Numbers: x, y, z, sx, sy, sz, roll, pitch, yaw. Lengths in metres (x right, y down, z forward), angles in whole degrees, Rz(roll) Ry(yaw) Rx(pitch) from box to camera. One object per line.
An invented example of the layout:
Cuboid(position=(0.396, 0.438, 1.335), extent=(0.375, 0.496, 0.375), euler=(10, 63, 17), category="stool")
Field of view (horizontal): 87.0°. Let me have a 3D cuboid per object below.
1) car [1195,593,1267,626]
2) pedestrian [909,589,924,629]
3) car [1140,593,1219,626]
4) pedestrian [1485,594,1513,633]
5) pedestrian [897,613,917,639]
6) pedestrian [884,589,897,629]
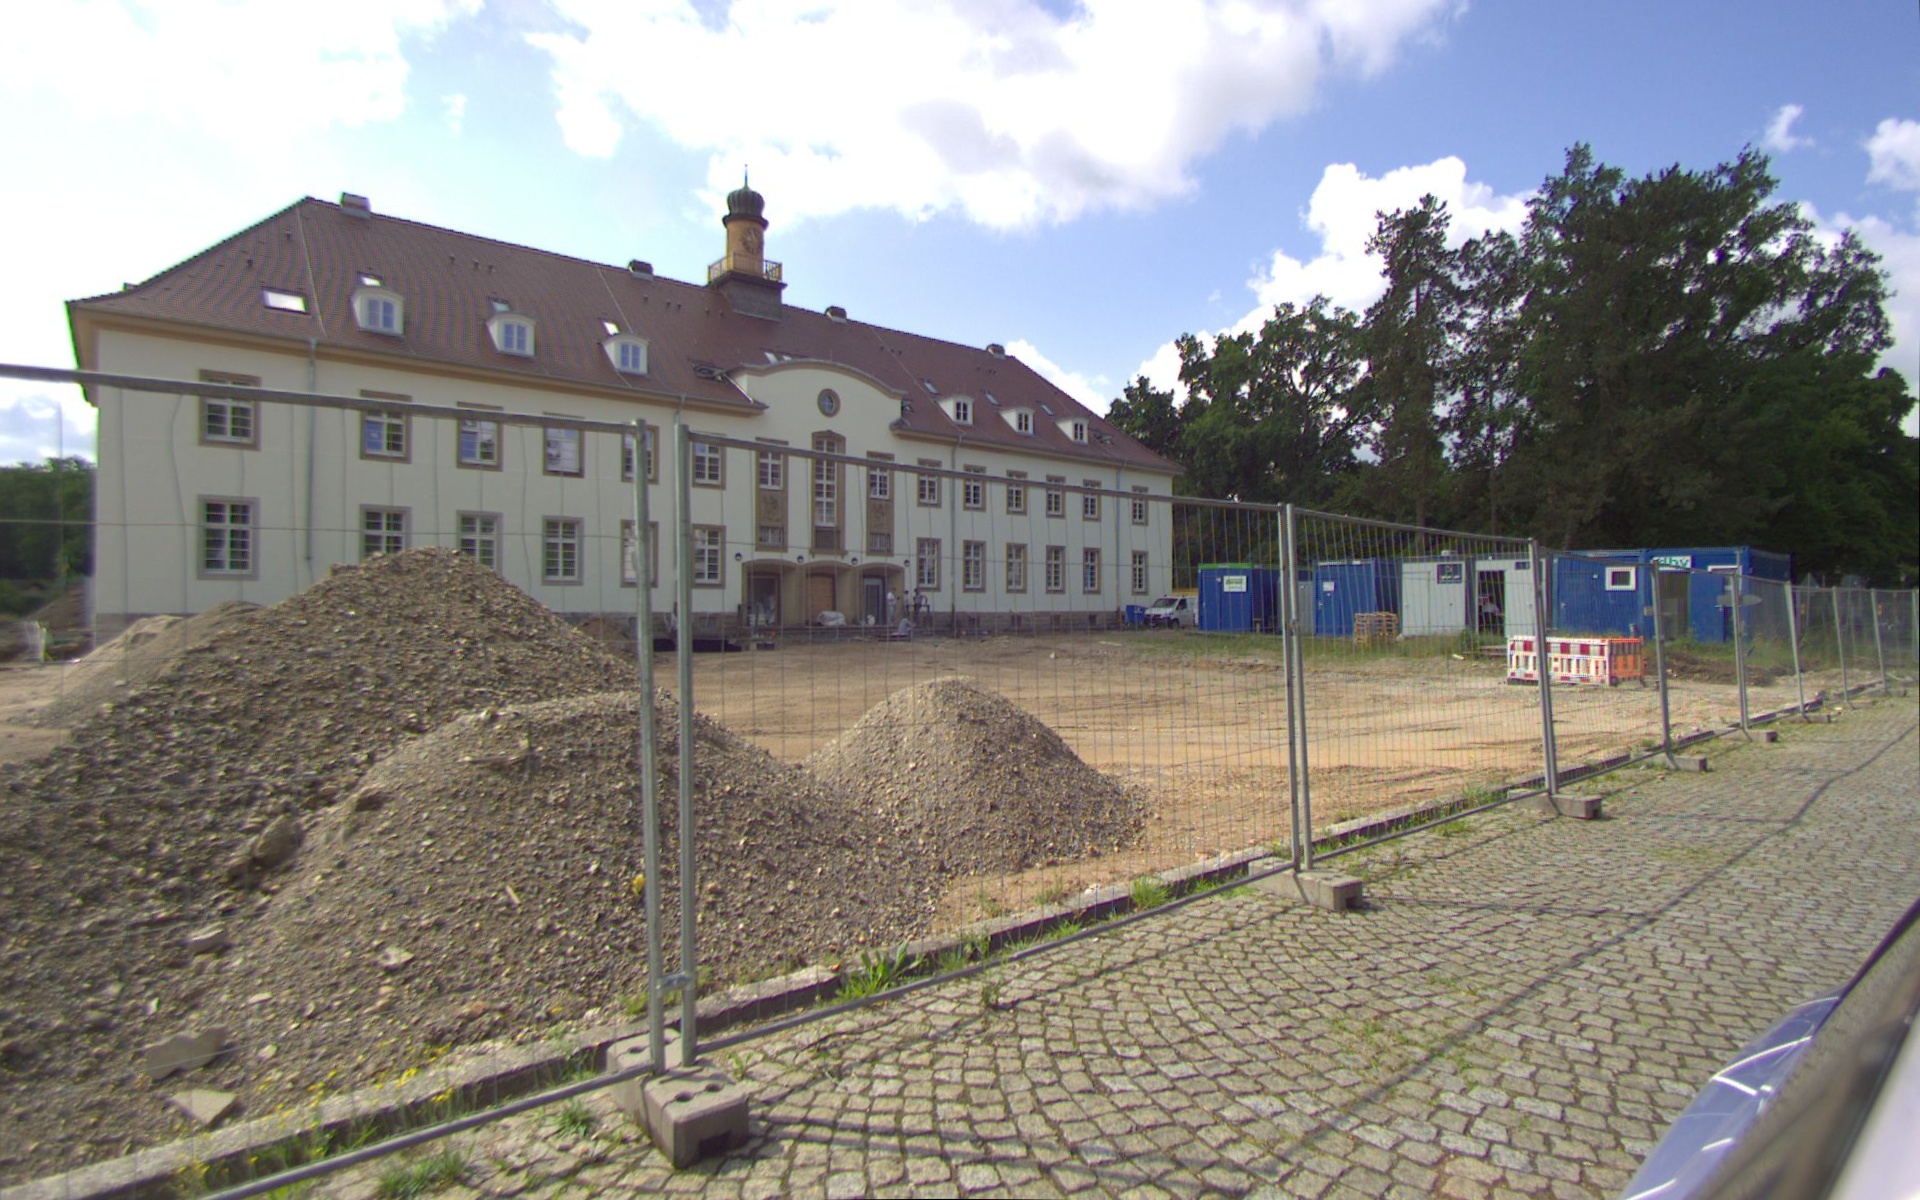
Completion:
Cuboid(position=(14.571, 0.477, 54.401), extent=(3.967, 1.705, 1.801), euler=(0, 0, -39), category="car")
Cuboid(position=(-1.984, 0.412, 46.298), extent=(0.498, 1.811, 0.490), euler=(1, -1, -43), category="pedestrian")
Cuboid(position=(12.319, 0.515, 56.650), extent=(4.623, 1.750, 1.884), euler=(0, 0, -39), category="car")
Cuboid(position=(17.616, 0.453, 33.051), extent=(0.671, 1.259, 0.602), euler=(1, -1, -42), category="pedestrian")
Cuboid(position=(-2.312, 1.121, 44.130), extent=(0.697, 1.128, 0.490), euler=(1, -1, -42), category="pedestrian")
Cuboid(position=(-3.133, 0.411, 45.442), extent=(0.496, 1.811, 0.492), euler=(0, -1, -18), category="pedestrian")
